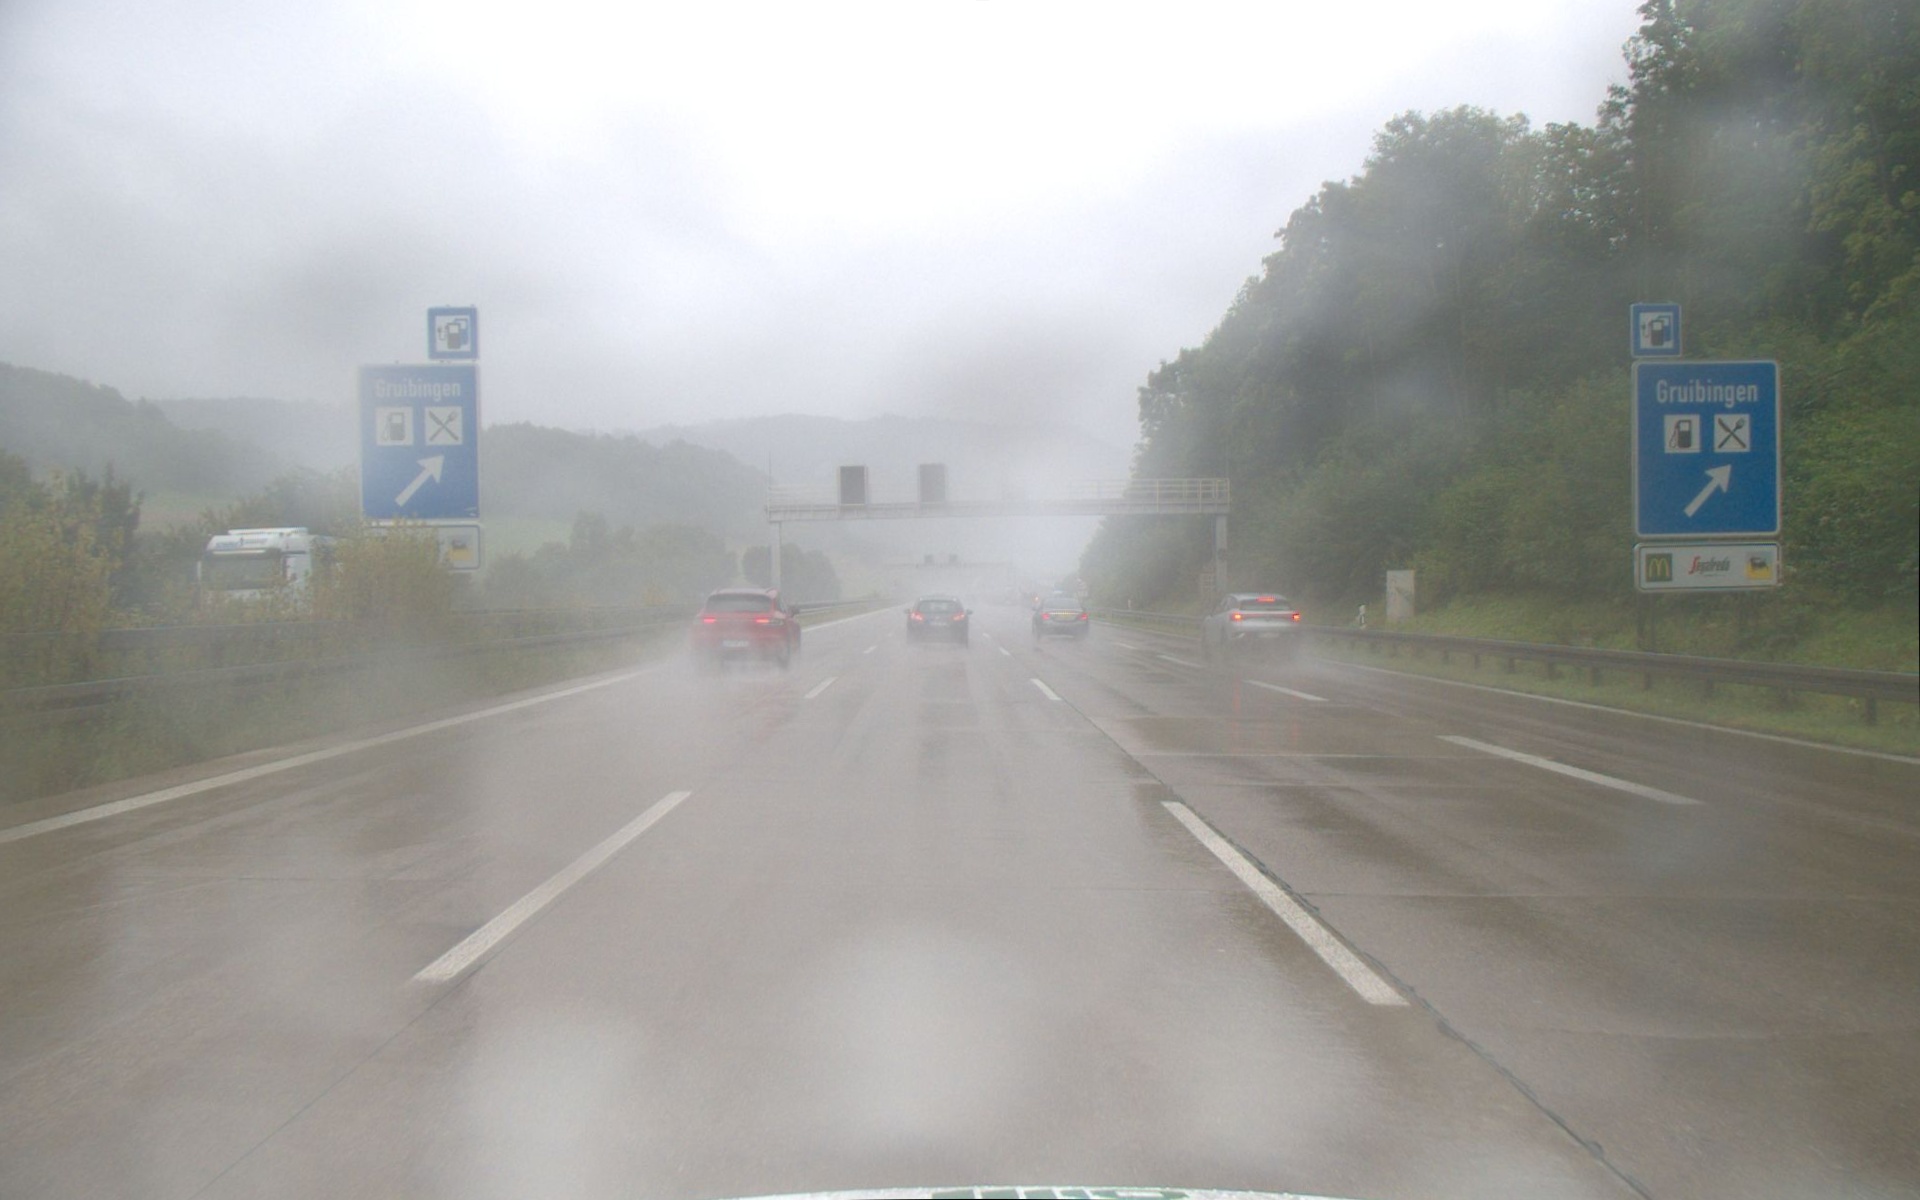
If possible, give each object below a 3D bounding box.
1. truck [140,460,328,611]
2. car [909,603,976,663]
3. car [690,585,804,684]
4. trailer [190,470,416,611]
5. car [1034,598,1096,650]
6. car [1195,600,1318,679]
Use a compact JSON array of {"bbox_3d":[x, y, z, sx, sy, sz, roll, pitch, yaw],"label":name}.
[{"bbox_3d":[-21.618,-1.827,49.616,3.305,4.258,5.518,0,0,-2],"label":"truck"},{"bbox_3d":[-0.510,0.927,47.776,1.822,1.617,3.999,1,0,-1],"label":"car"},{"bbox_3d":[-4.167,0.634,32.916,1.846,1.847,3.999,0,0,-2],"label":"car"},{"bbox_3d":[-21.768,-1.826,55.799,3.287,4.246,11.399,0,0,-1],"label":"trailer"},{"bbox_3d":[3.725,0.822,59.276,1.931,1.791,4.000,0,0,-1],"label":"car"},{"bbox_3d":[7.231,0.910,40.862,1.953,1.781,5.661,1,0,-1],"label":"car"}]
